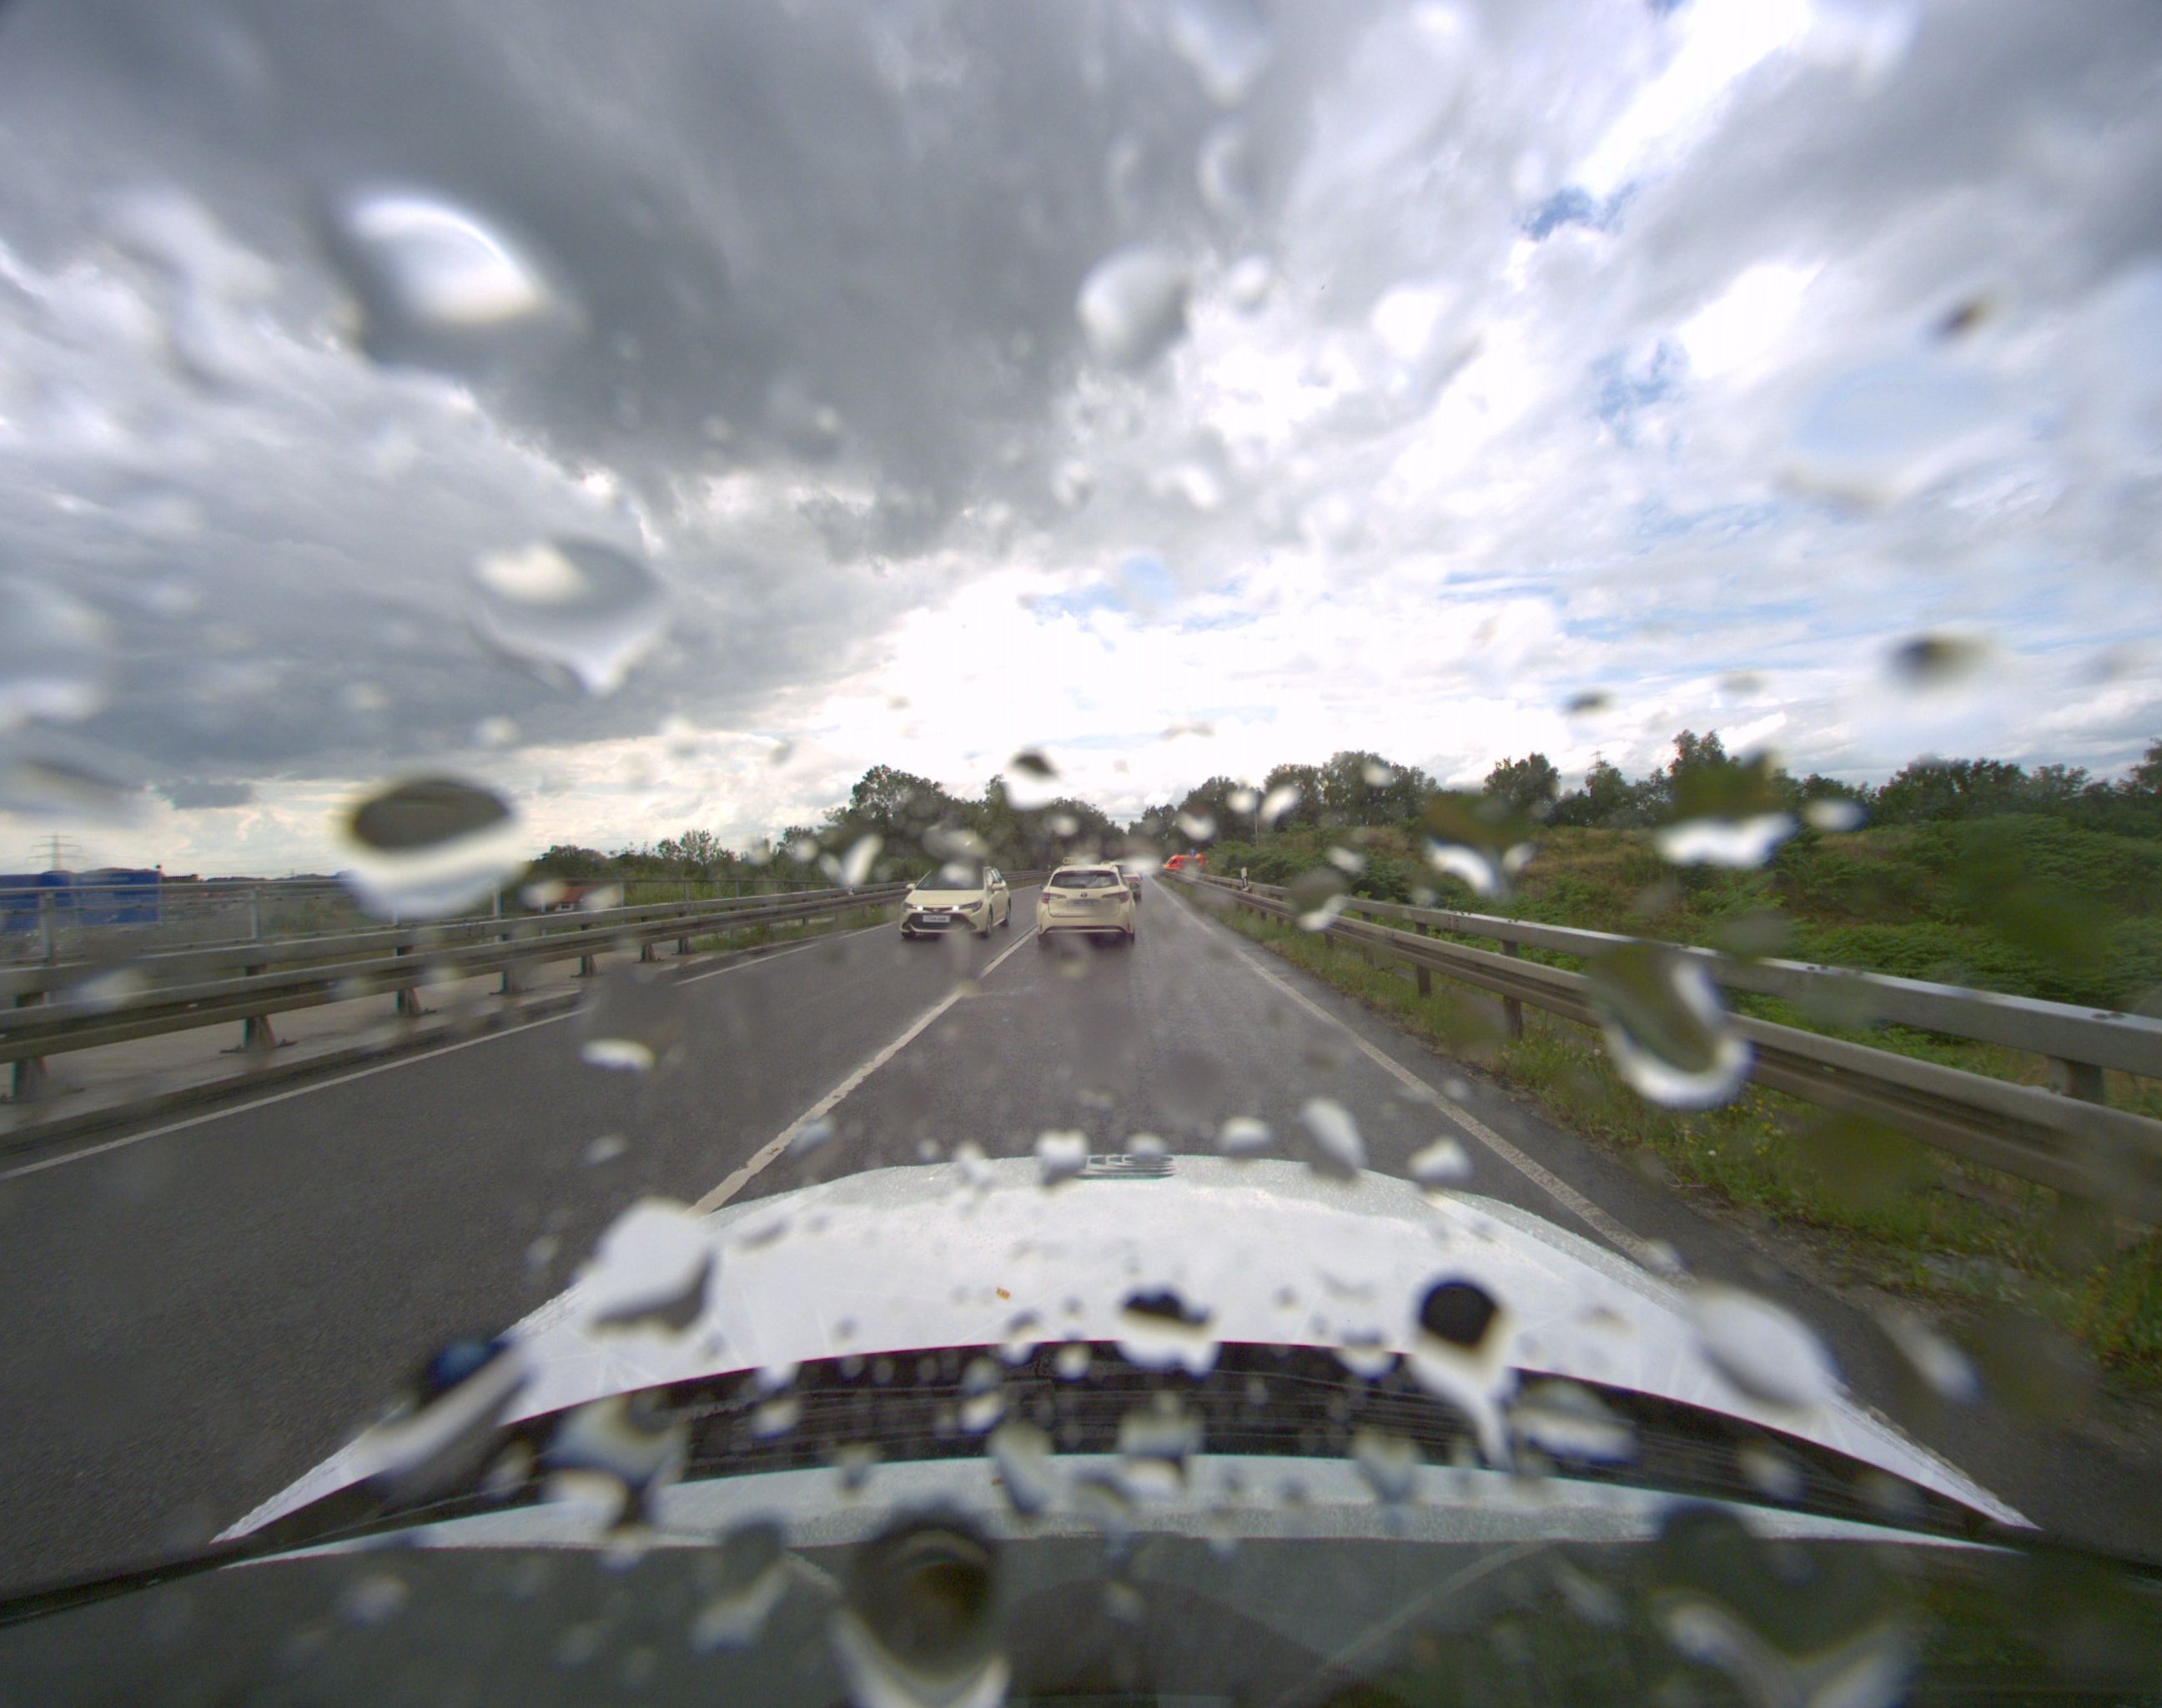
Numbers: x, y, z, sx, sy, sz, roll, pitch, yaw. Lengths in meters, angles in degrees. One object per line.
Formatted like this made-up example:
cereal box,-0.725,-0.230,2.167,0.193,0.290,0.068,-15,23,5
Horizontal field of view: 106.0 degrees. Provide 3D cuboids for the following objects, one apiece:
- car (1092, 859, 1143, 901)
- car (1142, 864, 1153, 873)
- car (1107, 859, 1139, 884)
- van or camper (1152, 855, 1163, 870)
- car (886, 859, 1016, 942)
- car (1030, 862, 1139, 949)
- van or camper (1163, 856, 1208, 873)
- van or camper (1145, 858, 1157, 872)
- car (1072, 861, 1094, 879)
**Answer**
car,1.407,0.939,31.378,1.847,1.443,4.173,0,0,2
car,11.918,2.561,145.369,1.845,1.443,4.178,-1,0,6
car,2.592,1.062,50.326,1.847,1.443,4.173,0,0,2
van or camper,18.480,2.108,197.320,2.322,3.562,6.313,0,0,4
car,-2.613,0.892,17.488,1.803,1.509,4.614,0,0,3
car,0.157,0.897,15.969,1.847,1.394,4.173,0,0,2
van or camper,13.971,1.355,108.899,5.682,2.241,2.012,0,0,-12
van or camper,14.400,2.283,168.543,2.322,2.864,6.313,0,0,4
car,0.225,1.420,72.567,1.772,1.561,4.304,0,0,2
